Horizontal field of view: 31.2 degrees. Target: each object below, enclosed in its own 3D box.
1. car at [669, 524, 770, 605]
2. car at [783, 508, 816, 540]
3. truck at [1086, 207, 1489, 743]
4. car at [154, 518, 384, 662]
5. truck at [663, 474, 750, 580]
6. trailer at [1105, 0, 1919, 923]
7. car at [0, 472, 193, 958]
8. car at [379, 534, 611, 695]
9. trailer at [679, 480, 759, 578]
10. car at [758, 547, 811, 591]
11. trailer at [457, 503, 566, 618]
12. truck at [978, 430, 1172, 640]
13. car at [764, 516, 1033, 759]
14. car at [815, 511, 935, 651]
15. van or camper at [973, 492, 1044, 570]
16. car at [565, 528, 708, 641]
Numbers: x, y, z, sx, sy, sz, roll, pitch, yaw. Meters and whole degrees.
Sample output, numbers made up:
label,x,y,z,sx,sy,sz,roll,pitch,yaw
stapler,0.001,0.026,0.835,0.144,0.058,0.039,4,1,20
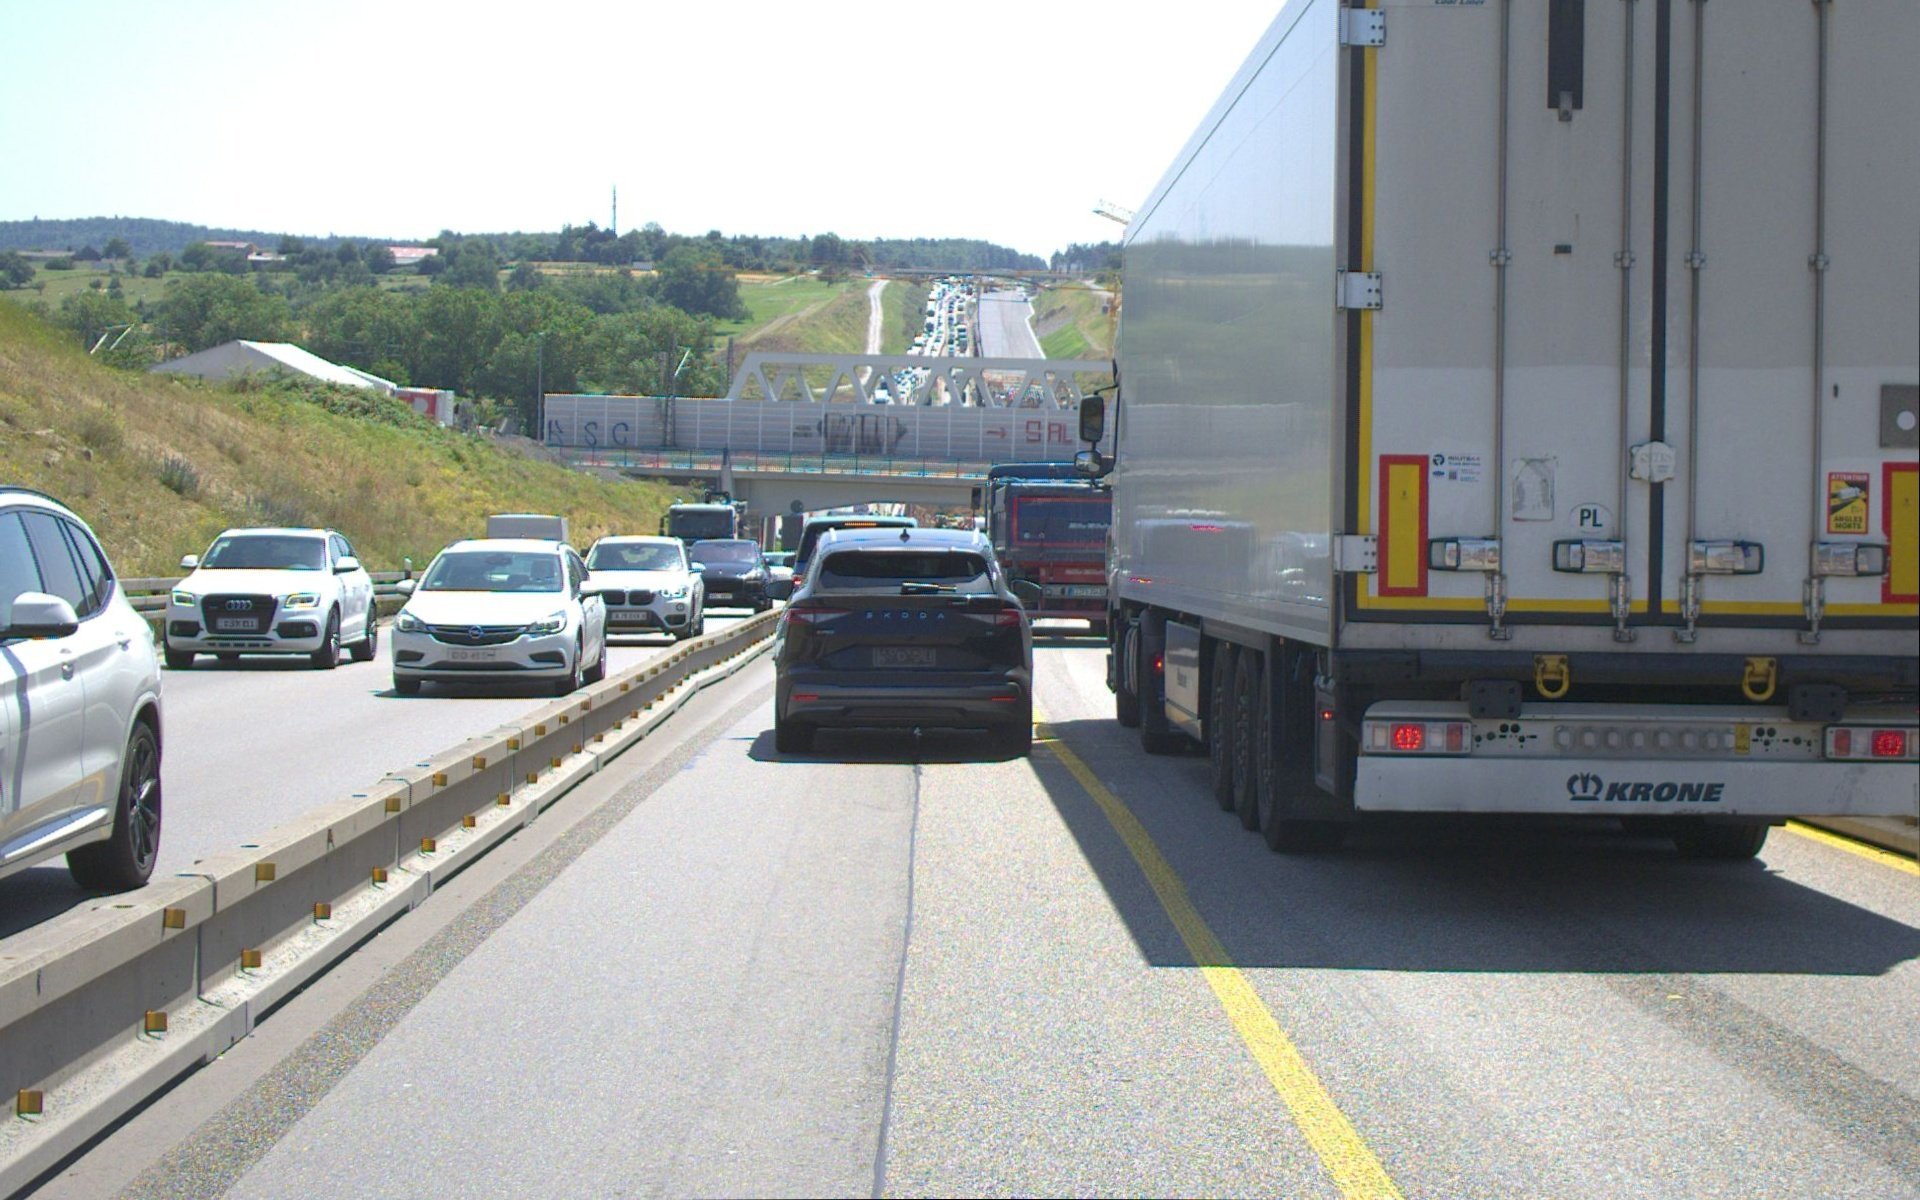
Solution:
label,x,y,z,sx,sy,sz,roll,pitch,yaw
car,-5.188,-0.786,74.597,1.891,1.702,4.561,0,1,0
car,-9.263,-4.412,198.521,1.732,1.787,3.581,1,1,-1
truck,2.579,-0.981,28.603,2.776,4.044,4.905,1,1,-1
car,-8.104,-0.157,40.682,1.899,1.579,4.515,1,1,-1
truck,-9.242,-2.650,126.101,2.587,3.710,9.333,0,1,-1
trailer,2.686,-0.853,20.594,2.801,4.044,14.118,1,1,-1
car,-4.318,0.368,13.013,1.891,1.702,4.562,1,1,-1
car,-4.558,0.095,34.244,1.806,1.472,4.281,1,1,-1
trailer,-9.311,-2.738,133.528,2.587,3.624,9.079,0,1,-1
car,-5.779,-1.026,113.577,1.684,1.425,3.293,0,1,-2
trailer,-8.126,-0.740,62.595,1.646,2.018,4.271,0,1,-3
truck,1.764,-1.081,58.111,2.814,3.124,12.838,1,1,0
car,-0.434,0.216,24.990,1.800,1.615,3.298,1,2,-1
car,-1.102,-0.284,45.942,1.475,1.789,3.298,1,1,1
van or camper,1.439,-2.084,103.655,1.993,2.237,4.000,2,1,0
car,-4.783,-0.270,51.294,1.815,1.587,4.290,1,1,-1
